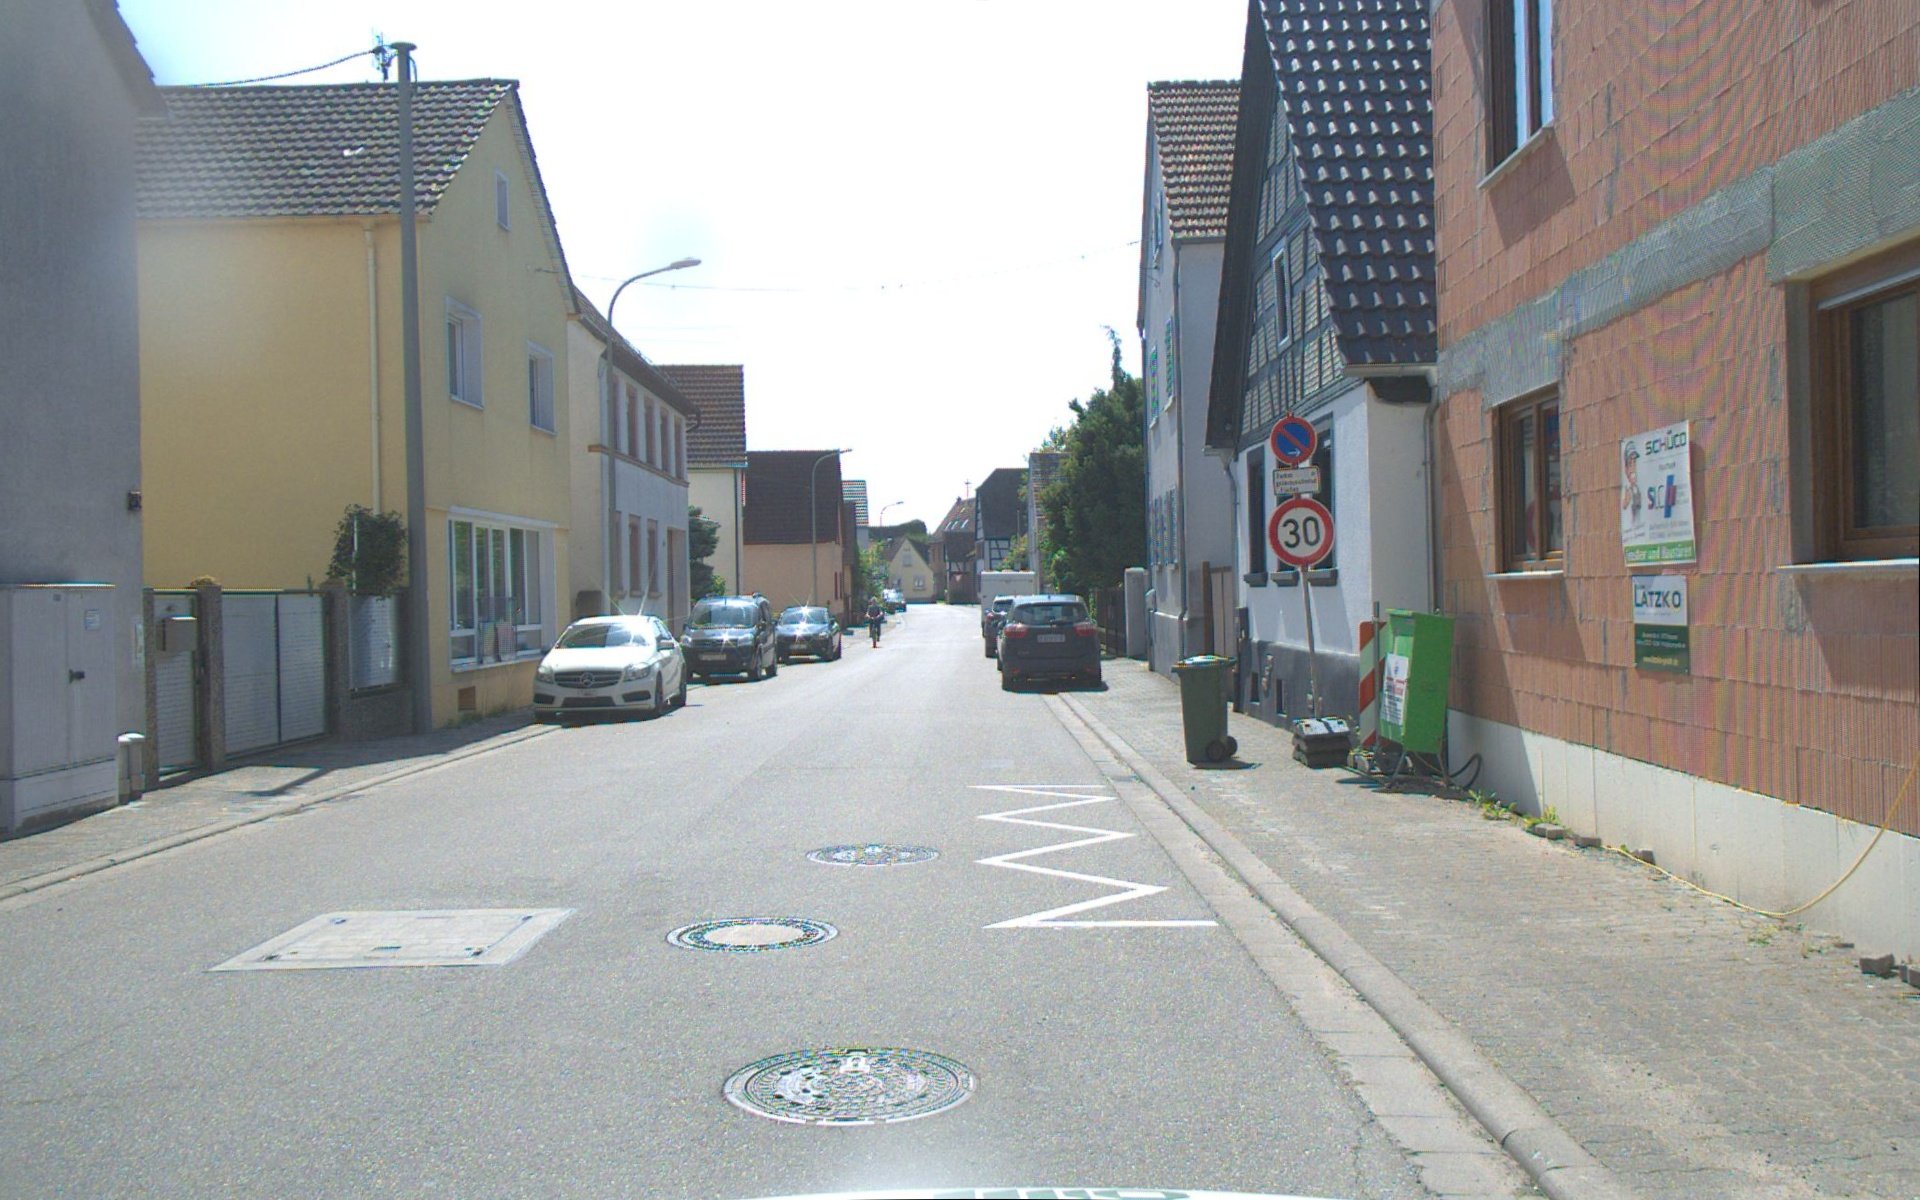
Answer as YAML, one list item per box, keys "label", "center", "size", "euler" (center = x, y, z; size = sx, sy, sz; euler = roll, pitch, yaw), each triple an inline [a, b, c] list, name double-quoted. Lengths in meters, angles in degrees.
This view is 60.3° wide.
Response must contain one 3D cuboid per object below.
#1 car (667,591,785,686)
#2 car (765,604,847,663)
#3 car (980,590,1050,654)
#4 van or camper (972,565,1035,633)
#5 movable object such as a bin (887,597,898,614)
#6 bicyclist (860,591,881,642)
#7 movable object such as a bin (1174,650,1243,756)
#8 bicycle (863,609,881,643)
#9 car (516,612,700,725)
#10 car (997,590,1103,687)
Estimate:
- label: "car"
  center: [-5.059, 0.787, 36.259]
  size: [1.797, 1.869, 4.354]
  euler: [-2, 0, 1]
- label: "car"
  center: [-4.412, 0.929, 48.000]
  size: [1.806, 1.553, 4.766]
  euler: [-1, 0, 1]
- label: "car"
  center: [1.604, 0.576, 46.876]
  size: [1.756, 1.659, 4.363]
  euler: [-2, 0, 4]
- label: "van or camper"
  center: [1.825, -0.043, 70.934]
  size: [2.470, 2.744, 4.555]
  euler: [-2, 0, 0]
- label: "movable object such as a bin"
  center: [-4.967, 0.423, 121.834]
  size: [0.674, 1.206, 0.714]
  euler: [-3, 0, 0]
- label: "bicyclist"
  center: [-3.236, 0.604, 60.135]
  size: [0.690, 1.801, 0.624]
  euler: [-2, 0, -3]
- label: "movable object such as a bin"
  center: [2.303, 0.946, 15.280]
  size: [0.526, 0.929, 0.552]
  euler: [-2, 0, 18]
- label: "bicycle"
  center: [-3.202, 0.946, 60.165]
  size: [0.577, 1.168, 1.947]
  euler: [-3, 0, -3]
- label: "car"
  center: [-5.185, 0.965, 24.907]
  size: [1.797, 1.489, 4.271]
  euler: [-1, 0, 0]
- label: "car"
  center: [1.586, 0.657, 30.542]
  size: [1.760, 1.587, 4.632]
  euler: [-2, 0, 1]
